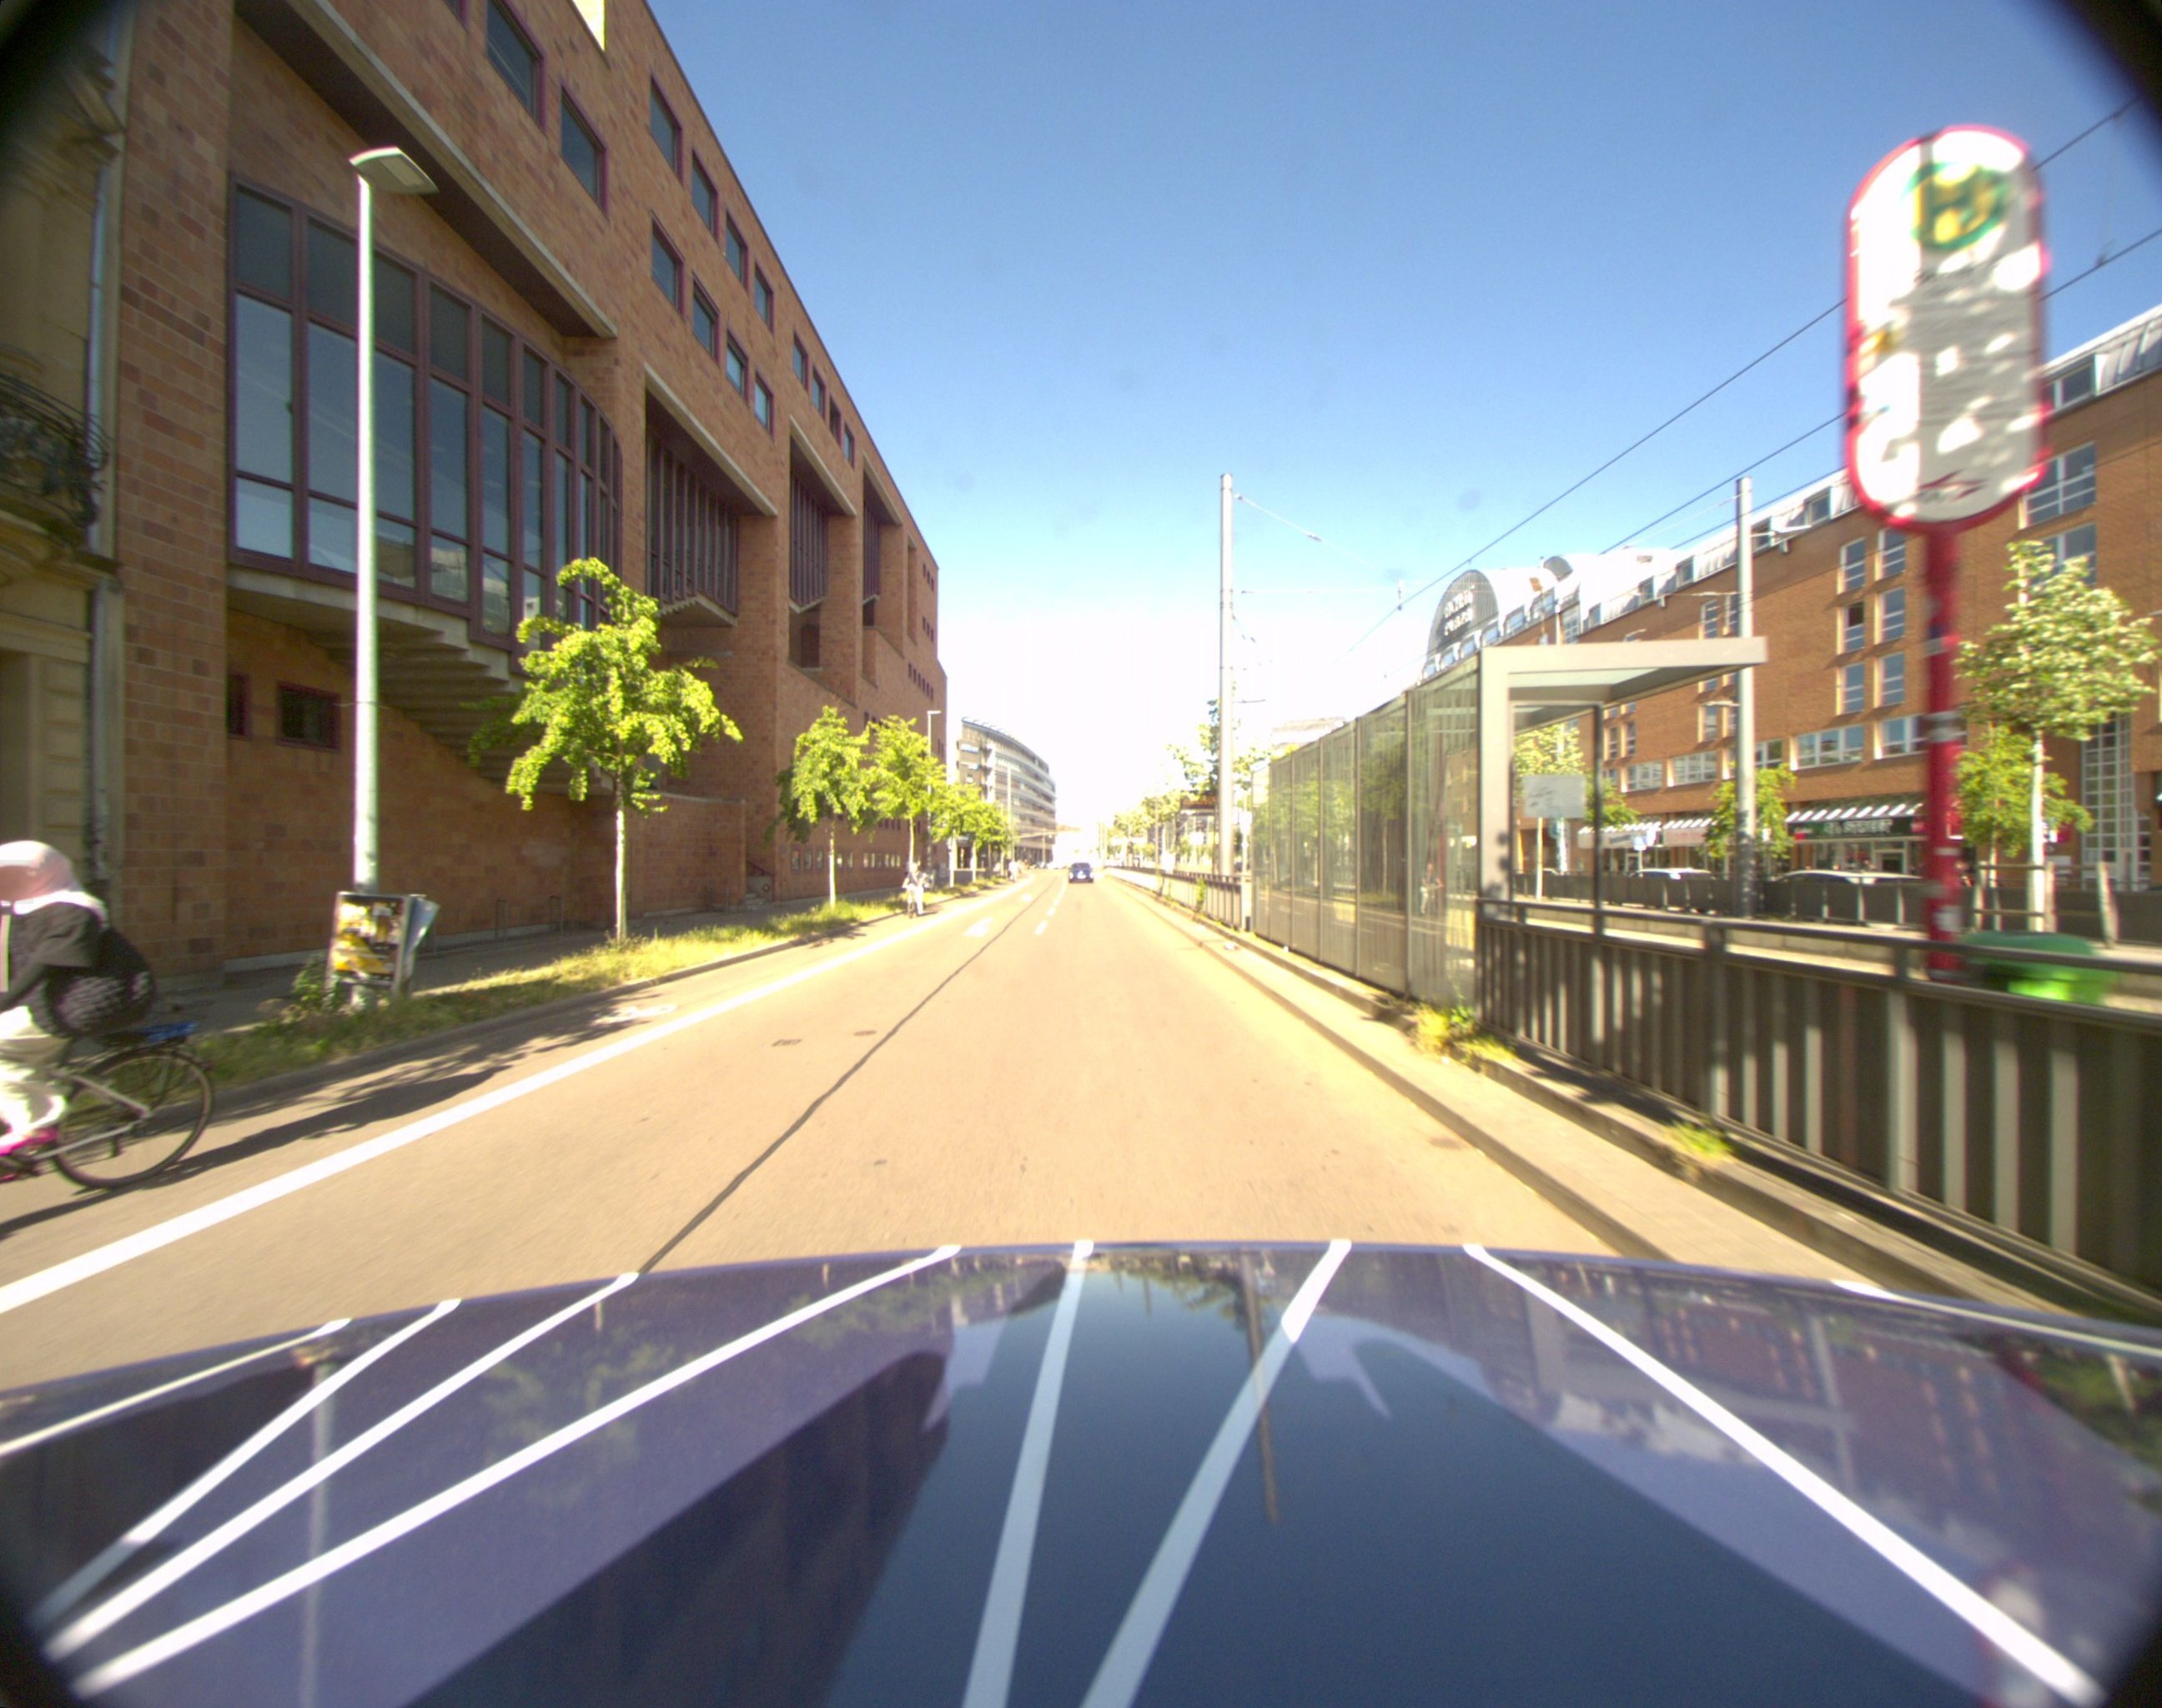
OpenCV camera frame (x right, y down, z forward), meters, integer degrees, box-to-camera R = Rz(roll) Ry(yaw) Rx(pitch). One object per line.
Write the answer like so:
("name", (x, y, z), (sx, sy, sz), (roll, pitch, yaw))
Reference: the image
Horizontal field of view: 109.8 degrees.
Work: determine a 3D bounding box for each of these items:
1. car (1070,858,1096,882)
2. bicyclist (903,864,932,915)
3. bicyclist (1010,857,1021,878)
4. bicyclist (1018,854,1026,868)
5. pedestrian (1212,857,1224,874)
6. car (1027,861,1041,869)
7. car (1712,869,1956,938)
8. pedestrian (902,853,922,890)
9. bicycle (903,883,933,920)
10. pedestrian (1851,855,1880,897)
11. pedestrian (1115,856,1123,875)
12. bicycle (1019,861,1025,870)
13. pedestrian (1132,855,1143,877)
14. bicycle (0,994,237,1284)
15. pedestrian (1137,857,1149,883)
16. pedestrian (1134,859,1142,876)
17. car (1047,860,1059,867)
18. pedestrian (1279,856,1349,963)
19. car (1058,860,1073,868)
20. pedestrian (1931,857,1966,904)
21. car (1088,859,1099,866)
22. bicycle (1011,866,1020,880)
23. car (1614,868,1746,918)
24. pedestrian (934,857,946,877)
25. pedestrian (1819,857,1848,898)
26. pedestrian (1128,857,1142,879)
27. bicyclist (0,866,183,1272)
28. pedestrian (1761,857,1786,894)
("car", (0.153, 1.171, 56.426), (1.802, 1.596, 3.999), (-2, 1, 0))
("bicyclist", (-5.037, 1.084, 23.474), (0.659, 1.528, 0.909), (-2, 0, 0))
("bicyclist", (-5.466, 1.149, 63.205), (0.684, 1.718, 0.909), (-2, 0, 3))
("bicyclist", (-7.254, 0.857, 93.533), (0.755, 1.607, 0.762), (-2, 0, 3))
("pedestrian", (13.356, 1.141, 73.990), (0.960, 1.680, 1.007), (0, 0, 2))
("car", (-8.969, 2.079, 144.190), (1.882, 1.455, 4.002), (-1, 1, 7))
("car", (17.090, 1.055, 17.561), (1.699, 1.279, 3.960), (-2, 1, 0))
("pedestrian", (-8.861, 0.910, 39.875), (0.790, 1.872, 1.106), (0, 0, 0))
("bicycle", (-5.011, 1.454, 23.439), (0.559, 1.021, 1.507), (-2, 0, 0))
("pedestrian", (34.812, 0.971, 33.722), (0.622, 1.829, 0.644), (0, 0, -1))
("pedestrian", (3.475, 1.064, 68.914), (0.649, 1.733, 0.820), (0, 0, -4))
("bicycle", (-7.235, 1.383, 93.515), (0.578, 1.090, 1.507), (-2, 0, 3))
("pedestrian", (4.742, 1.024, 63.938), (0.756, 1.800, 0.840), (0, 0, -4))
("bicycle", (-4.949, 1.319, 3.287), (0.559, 1.086, 1.792), (-2, 0, 0))
("pedestrian", (4.134, 1.038, 50.619), (0.710, 1.713, 0.752), (0, 0, -1))
("pedestrian", (5.158, 1.197, 69.155), (0.610, 1.560, 0.908), (0, 0, -4))
("car", (-5.863, 1.993, 159.743), (1.882, 1.455, 4.002), (-1, 1, 7))
("pedestrian", (3.415, 0.789, 11.191), (0.814, 1.527, 0.798), (0, 0, 2))
("car", (-2.957, 1.913, 143.200), (2.120, 1.547, 4.003), (0, 0, 9))
("pedestrian", (34.088, 1.016, 29.857), (0.622, 1.829, 0.645), (0, 0, 0))
("car", (2.626, 1.762, 159.902), (1.882, 1.455, 4.002), (-1, 1, 7))
("bicycle", (-5.442, 1.578, 63.379), (0.578, 1.090, 1.507), (-2, 0, 2))
("car", (23.230, 1.463, 29.669), (1.998, 1.674, 3.999), (-2, 1, 0))
("pedestrian", (-11.520, 1.066, 62.095), (0.790, 1.610, 0.976), (0, 0, -2))
("pedestrian", (33.707, 1.050, 34.045), (0.622, 1.829, 0.644), (0, 0, -1))
("pedestrian", (4.398, 1.110, 61.586), (0.994, 1.800, 1.022), (0, 0, -4))
("bicyclist", (-4.972, 0.923, 3.409), (0.781, 1.701, 0.868), (-2, 0, 0))
("pedestrian", (34.298, 1.060, 37.636), (0.622, 1.829, 0.644), (0, 0, -1))
